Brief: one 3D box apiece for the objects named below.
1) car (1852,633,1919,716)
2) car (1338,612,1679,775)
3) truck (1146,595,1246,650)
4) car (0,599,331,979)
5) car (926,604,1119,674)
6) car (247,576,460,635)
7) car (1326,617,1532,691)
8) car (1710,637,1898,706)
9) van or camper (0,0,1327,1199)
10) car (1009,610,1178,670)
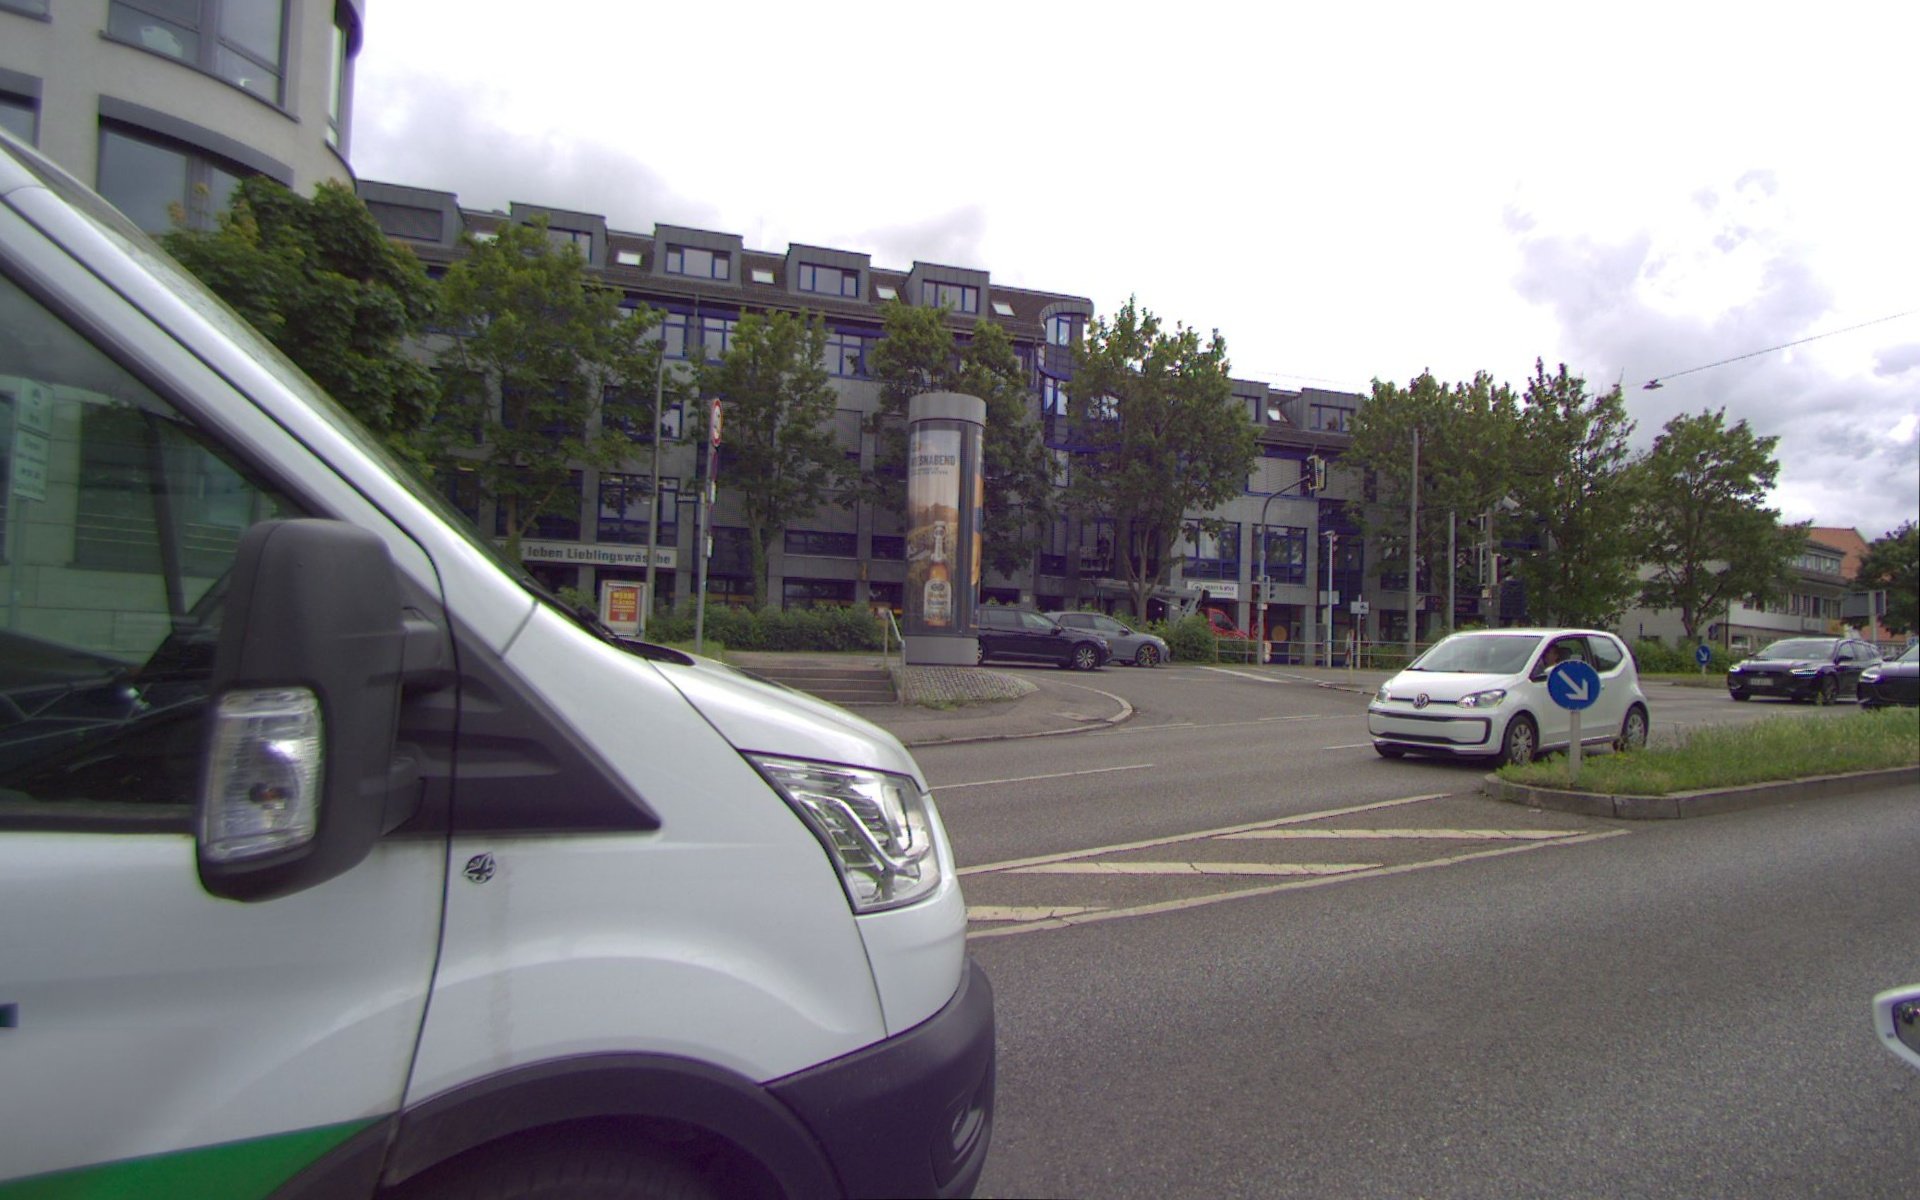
[{"bbox_3d":[19.169,1.384,19.240,4.427,1.500,1.769,1,-3,-30],"label":"car"},{"bbox_3d":[6.385,0.965,11.608,3.956,1.585,1.768,1,-2,-32],"label":"car"},{"bbox_3d":[10.684,1.025,45.605,3.927,2.419,1.997,1,0,-9],"label":"truck"},{"bbox_3d":[-5.019,0.776,4.260,3.936,1.500,1.768,1,-4,-32],"label":"car"},{"bbox_3d":[1.468,0.927,24.374,4.360,1.482,1.779,2,0,-10],"label":"car"},{"bbox_3d":[-15.839,0.151,26.485,4.496,1.482,1.672,1,0,-15],"label":"car"},{"bbox_3d":[10.548,1.196,22.845,3.919,1.565,1.783,0,-1,9],"label":"car"},{"bbox_3d":[19.063,1.560,22.686,3.896,1.397,1.779,1,-1,-25],"label":"car"},{"bbox_3d":[-2.473,0.107,1.279,5.898,2.697,2.331,3,-1,-31],"label":"van or camper"},{"bbox_3d":[3.721,1.106,28.307,4.360,1.482,1.779,2,0,-10],"label":"car"}]
